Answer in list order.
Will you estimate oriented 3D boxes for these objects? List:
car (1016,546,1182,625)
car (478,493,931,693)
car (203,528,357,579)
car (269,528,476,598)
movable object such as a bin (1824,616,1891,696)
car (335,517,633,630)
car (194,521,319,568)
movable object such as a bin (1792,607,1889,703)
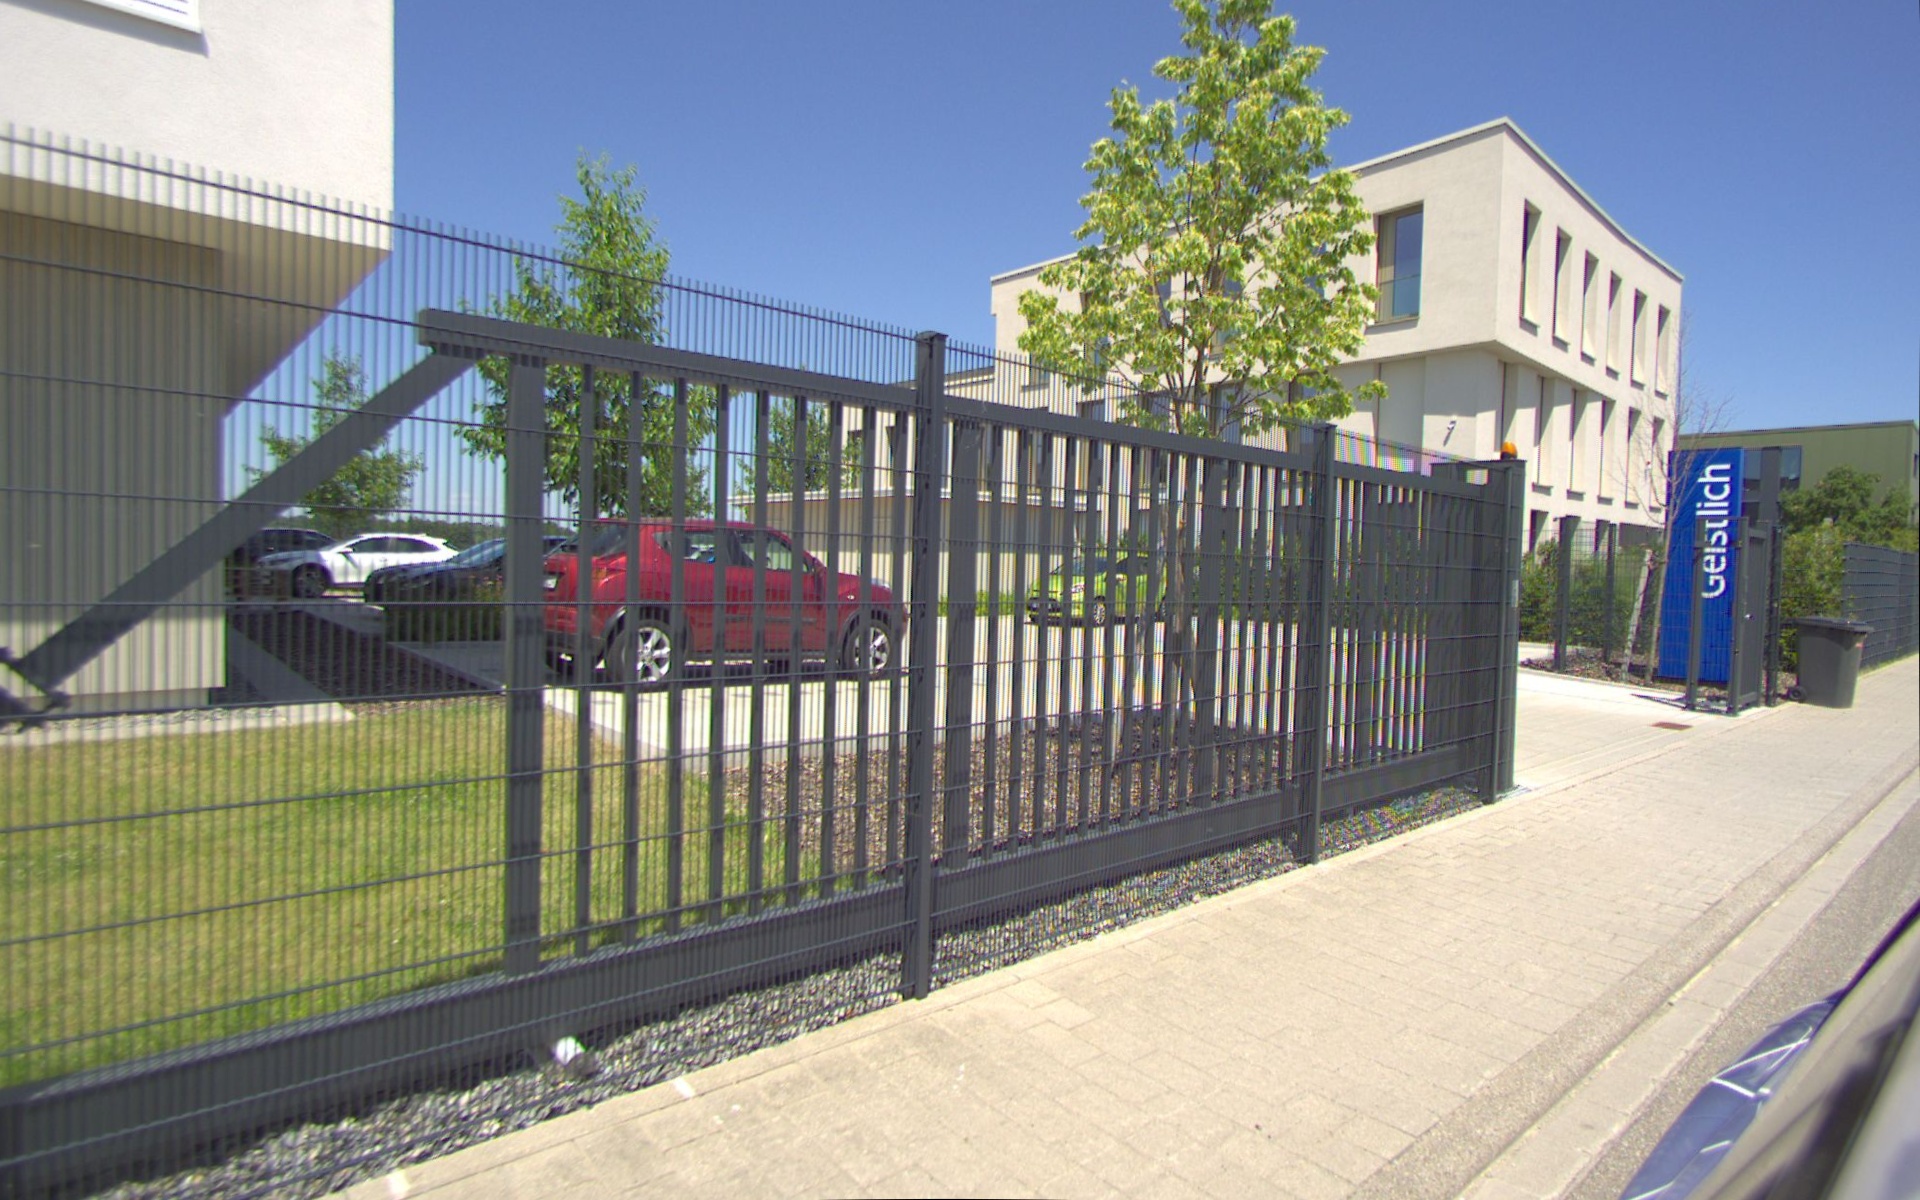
[{"bbox_3d":[2.918,-0.327,20.848,1.610,1.482,3.544,2,3,45],"label":"car"},{"bbox_3d":[-2.346,-0.062,9.985,4.010,1.577,1.670,1,1,-44],"label":"car"},{"bbox_3d":[-21.648,-1.455,32.298,3.872,1.450,1.671,1,1,-43],"label":"car"},{"bbox_3d":[-13.521,-0.818,23.415,3.872,1.450,1.671,1,1,-43],"label":"car"},{"bbox_3d":[11.379,0.692,12.834,0.545,0.936,0.525,-1,3,-40],"label":"movable object such as a bin"},{"bbox_3d":[-6.905,-0.348,14.873,3.615,1.450,1.671,1,1,-43],"label":"car"},{"bbox_3d":[-28.128,-2.184,40.528,3.872,1.686,1.671,1,1,-43],"label":"car"},{"bbox_3d":[10.681,0.646,12.285,0.686,1.061,0.749,-1,4,-40],"label":"movable object such as a bin"}]
